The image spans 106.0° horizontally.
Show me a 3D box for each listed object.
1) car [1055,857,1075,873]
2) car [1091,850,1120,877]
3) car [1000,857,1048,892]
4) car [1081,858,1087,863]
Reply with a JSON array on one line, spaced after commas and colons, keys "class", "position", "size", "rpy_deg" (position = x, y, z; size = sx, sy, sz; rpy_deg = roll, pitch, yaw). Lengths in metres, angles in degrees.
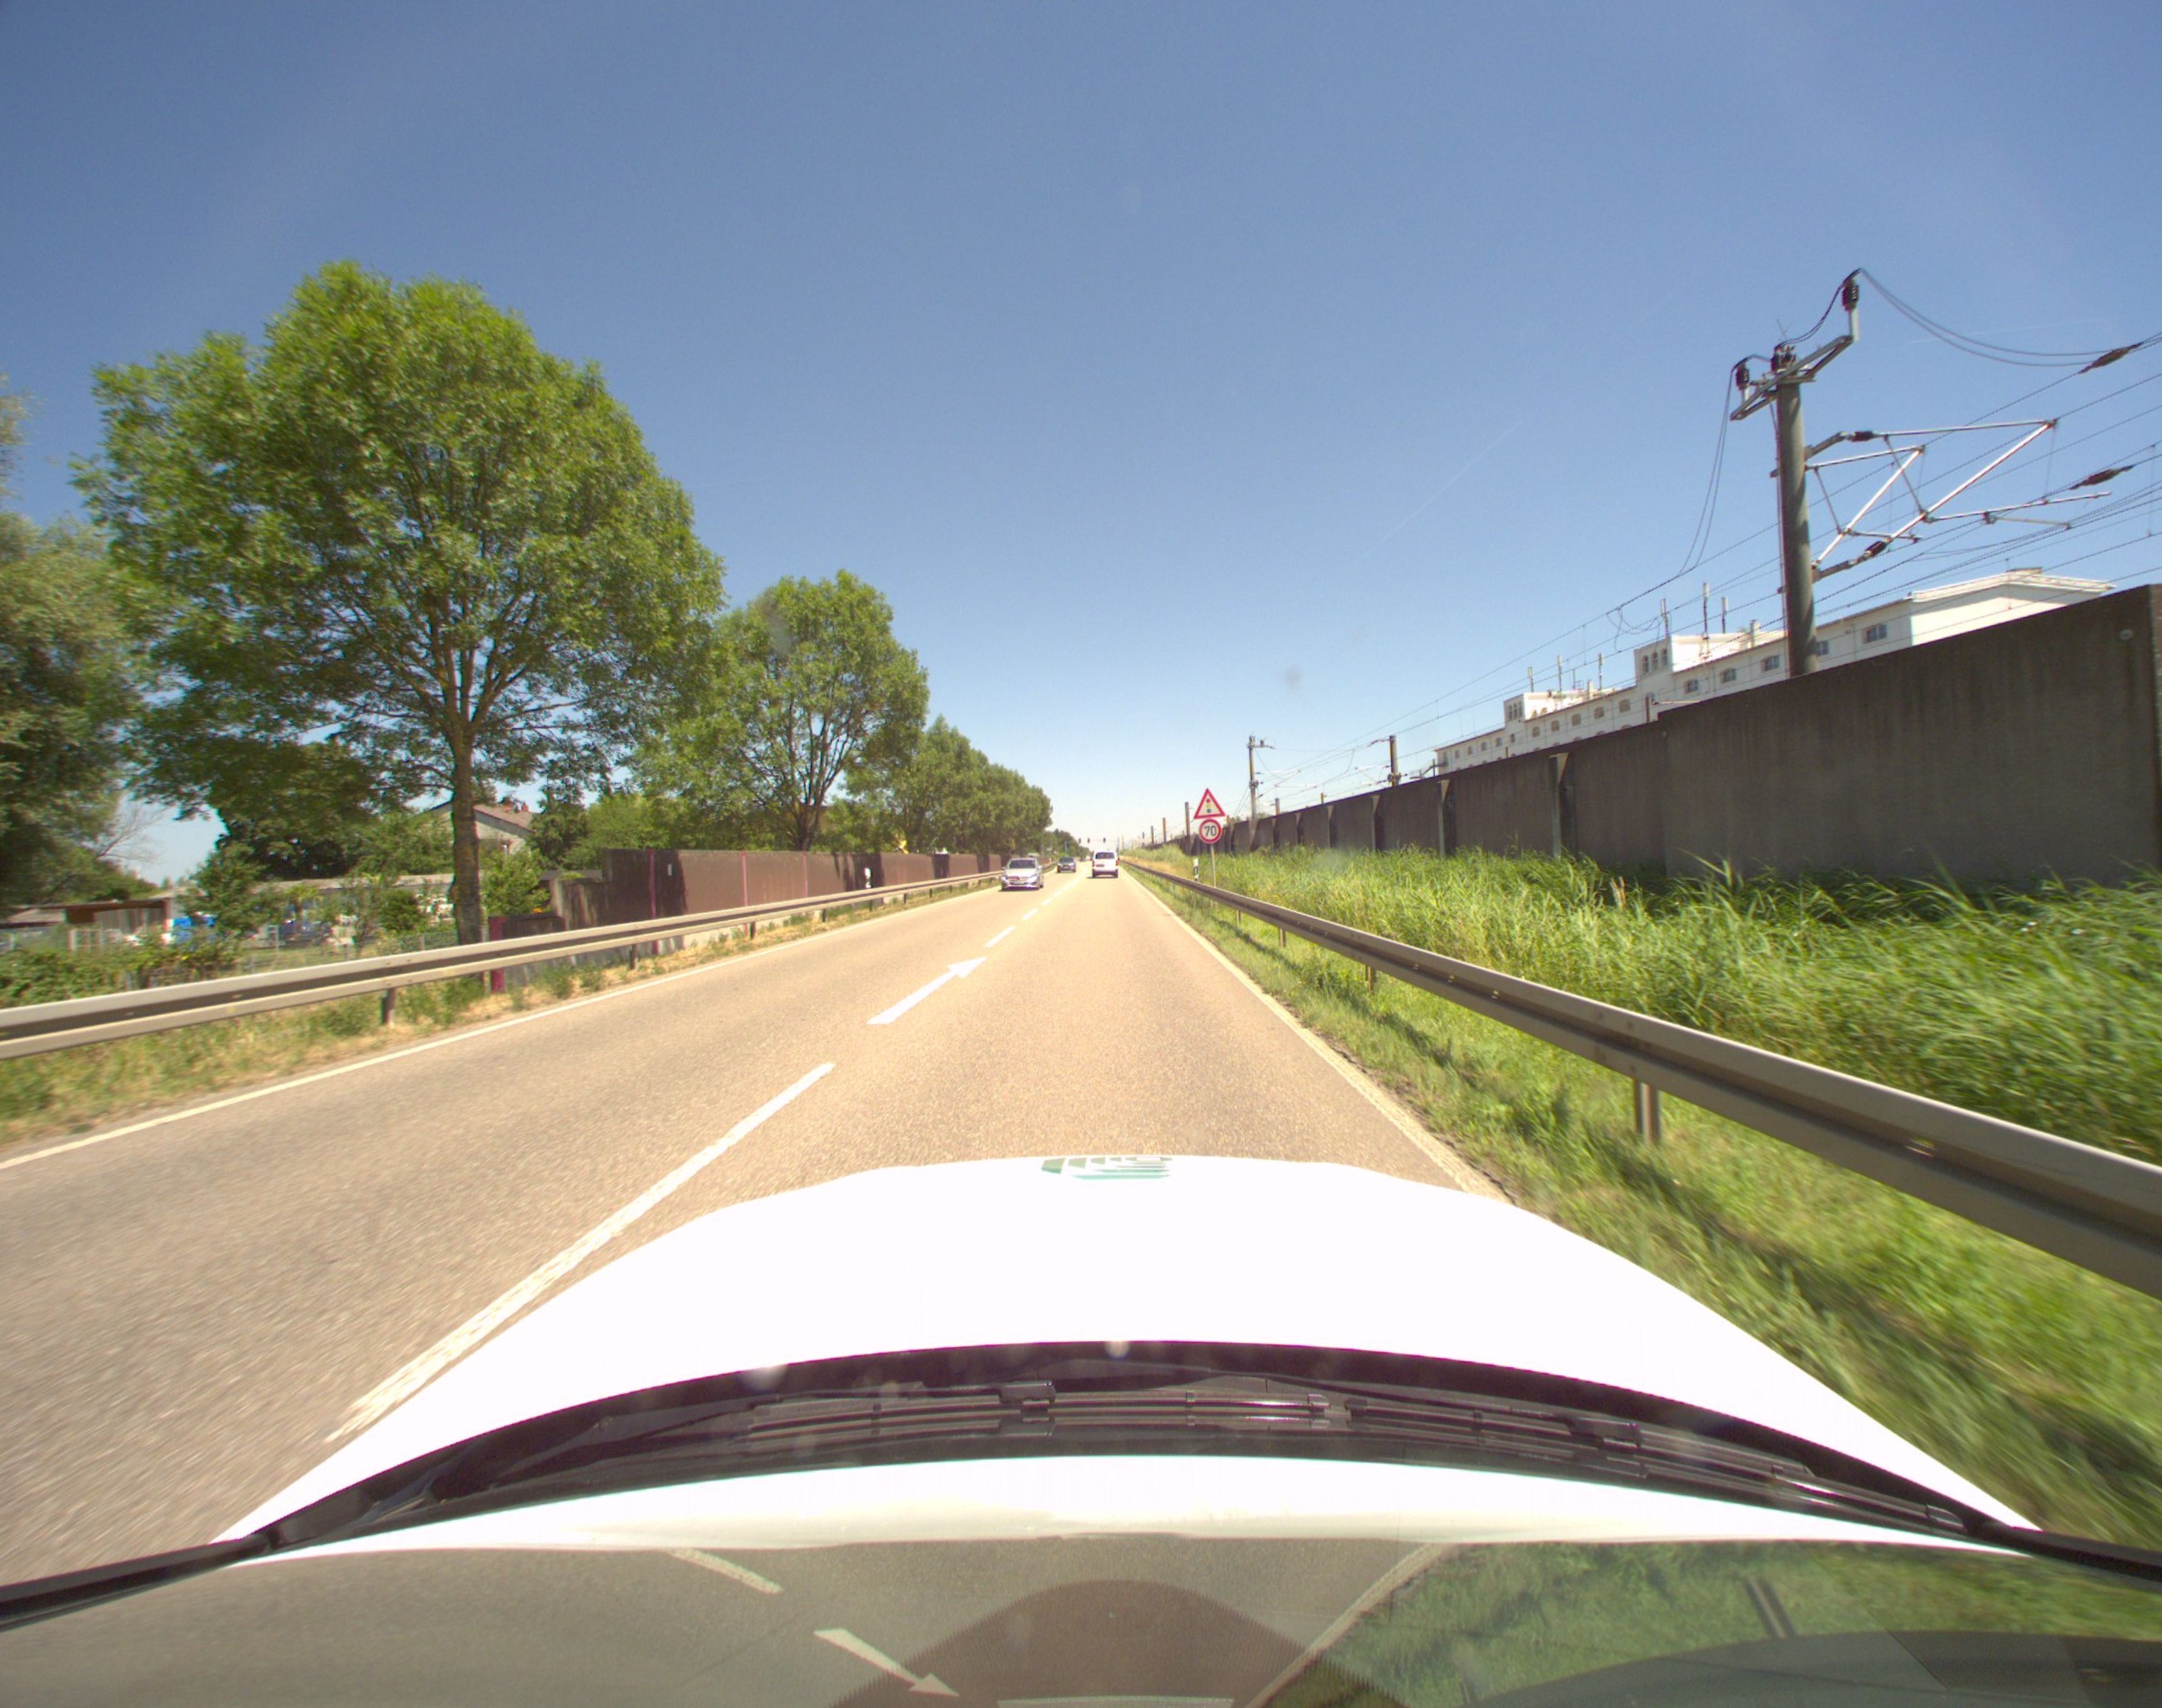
[{"class": "car", "position": [-1.521, 1.043, 80.961], "size": [1.783, 1.525, 4.391], "rpy_deg": [-2, 0, 1]}, {"class": "car", "position": [1.785, 0.688, 58.824], "size": [1.986, 1.850, 4.002], "rpy_deg": [-1, 0, 2]}, {"class": "car", "position": [-2.708, 0.941, 39.471], "size": [1.782, 1.525, 4.392], "rpy_deg": [-2, 0, 2]}, {"class": "car", "position": [0.963, 1.911, 239.867], "size": [1.813, 1.596, 4.000], "rpy_deg": [-1, 0, 0]}]
